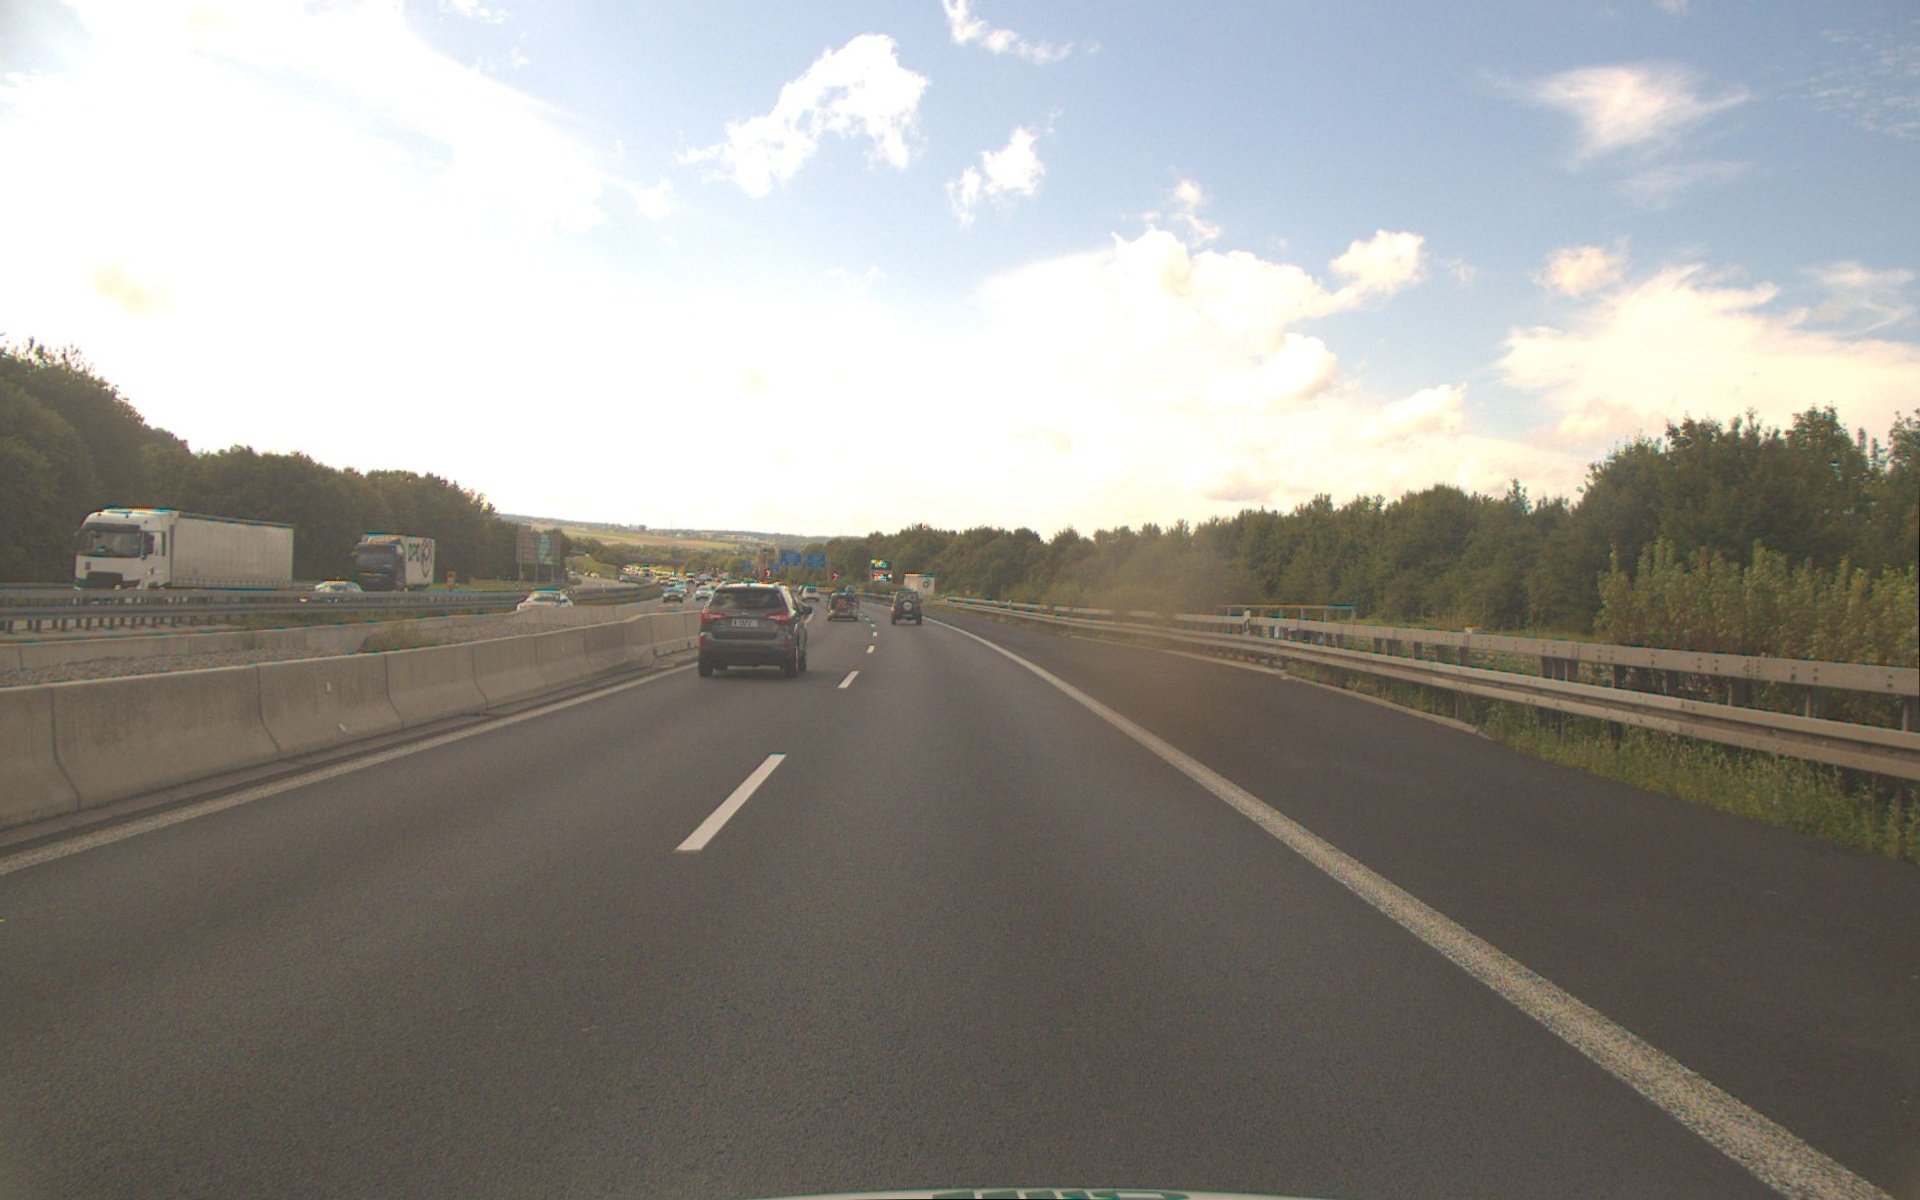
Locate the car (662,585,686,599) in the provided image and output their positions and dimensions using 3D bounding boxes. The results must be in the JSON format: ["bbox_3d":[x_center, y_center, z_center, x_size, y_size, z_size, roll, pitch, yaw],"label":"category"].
[{"bbox_3d":[-28.445,-0.800,164.580,1.955,1.427,4.808,1,0,-5],"label":"car"}]

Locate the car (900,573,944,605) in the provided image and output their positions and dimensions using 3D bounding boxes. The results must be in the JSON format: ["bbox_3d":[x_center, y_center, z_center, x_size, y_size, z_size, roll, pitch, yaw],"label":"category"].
[{"bbox_3d":[-5.753,-1.611,247.130,4.643,4.341,11.373,1,-1,-11],"label":"car"}]

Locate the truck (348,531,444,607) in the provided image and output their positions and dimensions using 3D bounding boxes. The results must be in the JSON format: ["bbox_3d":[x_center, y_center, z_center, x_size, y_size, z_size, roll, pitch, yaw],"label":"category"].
[{"bbox_3d":[-32.796,-1.692,96.591,2.845,4.038,10.451,1,-1,-5],"label":"truck"}]

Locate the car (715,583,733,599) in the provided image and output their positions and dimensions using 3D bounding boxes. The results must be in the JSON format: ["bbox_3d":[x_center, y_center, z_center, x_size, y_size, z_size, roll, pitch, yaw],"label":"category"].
[{"bbox_3d":[-28.130,-1.047,197.485,1.849,1.816,4.947,1,0,-5],"label":"car"}]

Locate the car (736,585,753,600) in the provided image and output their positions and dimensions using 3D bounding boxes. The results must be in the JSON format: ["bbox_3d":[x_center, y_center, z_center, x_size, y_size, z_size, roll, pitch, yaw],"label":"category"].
[{"bbox_3d":[-24.363,-0.852,187.064,1.849,1.733,4.960,1,0,-6],"label":"car"}]

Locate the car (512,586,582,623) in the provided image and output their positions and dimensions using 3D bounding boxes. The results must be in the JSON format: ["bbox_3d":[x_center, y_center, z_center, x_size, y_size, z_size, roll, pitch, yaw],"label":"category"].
[{"bbox_3d":[-17.602,0.230,70.751,1.837,1.473,5.120,1,-1,-2],"label":"car"}]

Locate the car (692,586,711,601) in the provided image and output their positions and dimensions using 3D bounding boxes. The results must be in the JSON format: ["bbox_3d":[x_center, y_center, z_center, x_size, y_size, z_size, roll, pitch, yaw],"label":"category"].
[{"bbox_3d":[-28.675,-0.705,183.628,1.850,1.638,4.959,1,0,-6],"label":"car"}]

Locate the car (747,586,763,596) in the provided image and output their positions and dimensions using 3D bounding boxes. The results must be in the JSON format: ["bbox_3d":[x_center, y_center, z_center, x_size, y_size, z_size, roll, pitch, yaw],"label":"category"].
[{"bbox_3d":[-27.772,-1.191,223.892,2.006,1.361,5.601,1,0,-6],"label":"car"}]

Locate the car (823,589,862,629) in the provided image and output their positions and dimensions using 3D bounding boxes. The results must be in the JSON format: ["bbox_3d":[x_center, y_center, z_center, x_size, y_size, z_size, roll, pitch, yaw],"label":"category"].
[{"bbox_3d":[-6.734,0.485,95.499,1.989,2.189,3.999,1,0,-1],"label":"car"}]

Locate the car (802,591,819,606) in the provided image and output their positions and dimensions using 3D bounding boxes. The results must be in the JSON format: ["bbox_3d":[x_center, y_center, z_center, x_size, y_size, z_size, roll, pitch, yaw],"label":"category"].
[{"bbox_3d":[-17.612,-0.193,194.868,1.955,1.713,3.995,1,-1,-6],"label":"car"}]

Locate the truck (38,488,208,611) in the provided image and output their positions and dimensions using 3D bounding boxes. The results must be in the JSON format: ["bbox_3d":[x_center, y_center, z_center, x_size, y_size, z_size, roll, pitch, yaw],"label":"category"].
[{"bbox_3d":[-32.112,-1.831,63.826,3.254,4.368,6.744,1,-1,-3],"label":"truck"}]

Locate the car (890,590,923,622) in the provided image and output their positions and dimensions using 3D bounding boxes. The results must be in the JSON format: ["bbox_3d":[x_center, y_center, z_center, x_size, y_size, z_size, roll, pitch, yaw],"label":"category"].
[{"bbox_3d":[-2.829,0.299,87.394,1.556,1.625,4.092,1,0,-4],"label":"car"}]

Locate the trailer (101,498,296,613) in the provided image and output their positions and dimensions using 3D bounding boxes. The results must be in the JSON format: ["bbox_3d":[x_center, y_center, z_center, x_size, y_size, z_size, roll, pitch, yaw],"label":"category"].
[{"bbox_3d":[-32.516,-1.699,71.440,3.255,4.368,12.132,1,-1,-3],"label":"trailer"}]

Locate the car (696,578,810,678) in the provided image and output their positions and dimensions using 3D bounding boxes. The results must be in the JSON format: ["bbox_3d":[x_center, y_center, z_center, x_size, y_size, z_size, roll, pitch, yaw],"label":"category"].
[{"bbox_3d":[-3.946,0.511,32.296,1.781,1.766,5.183,1,0,-3],"label":"car"}]
